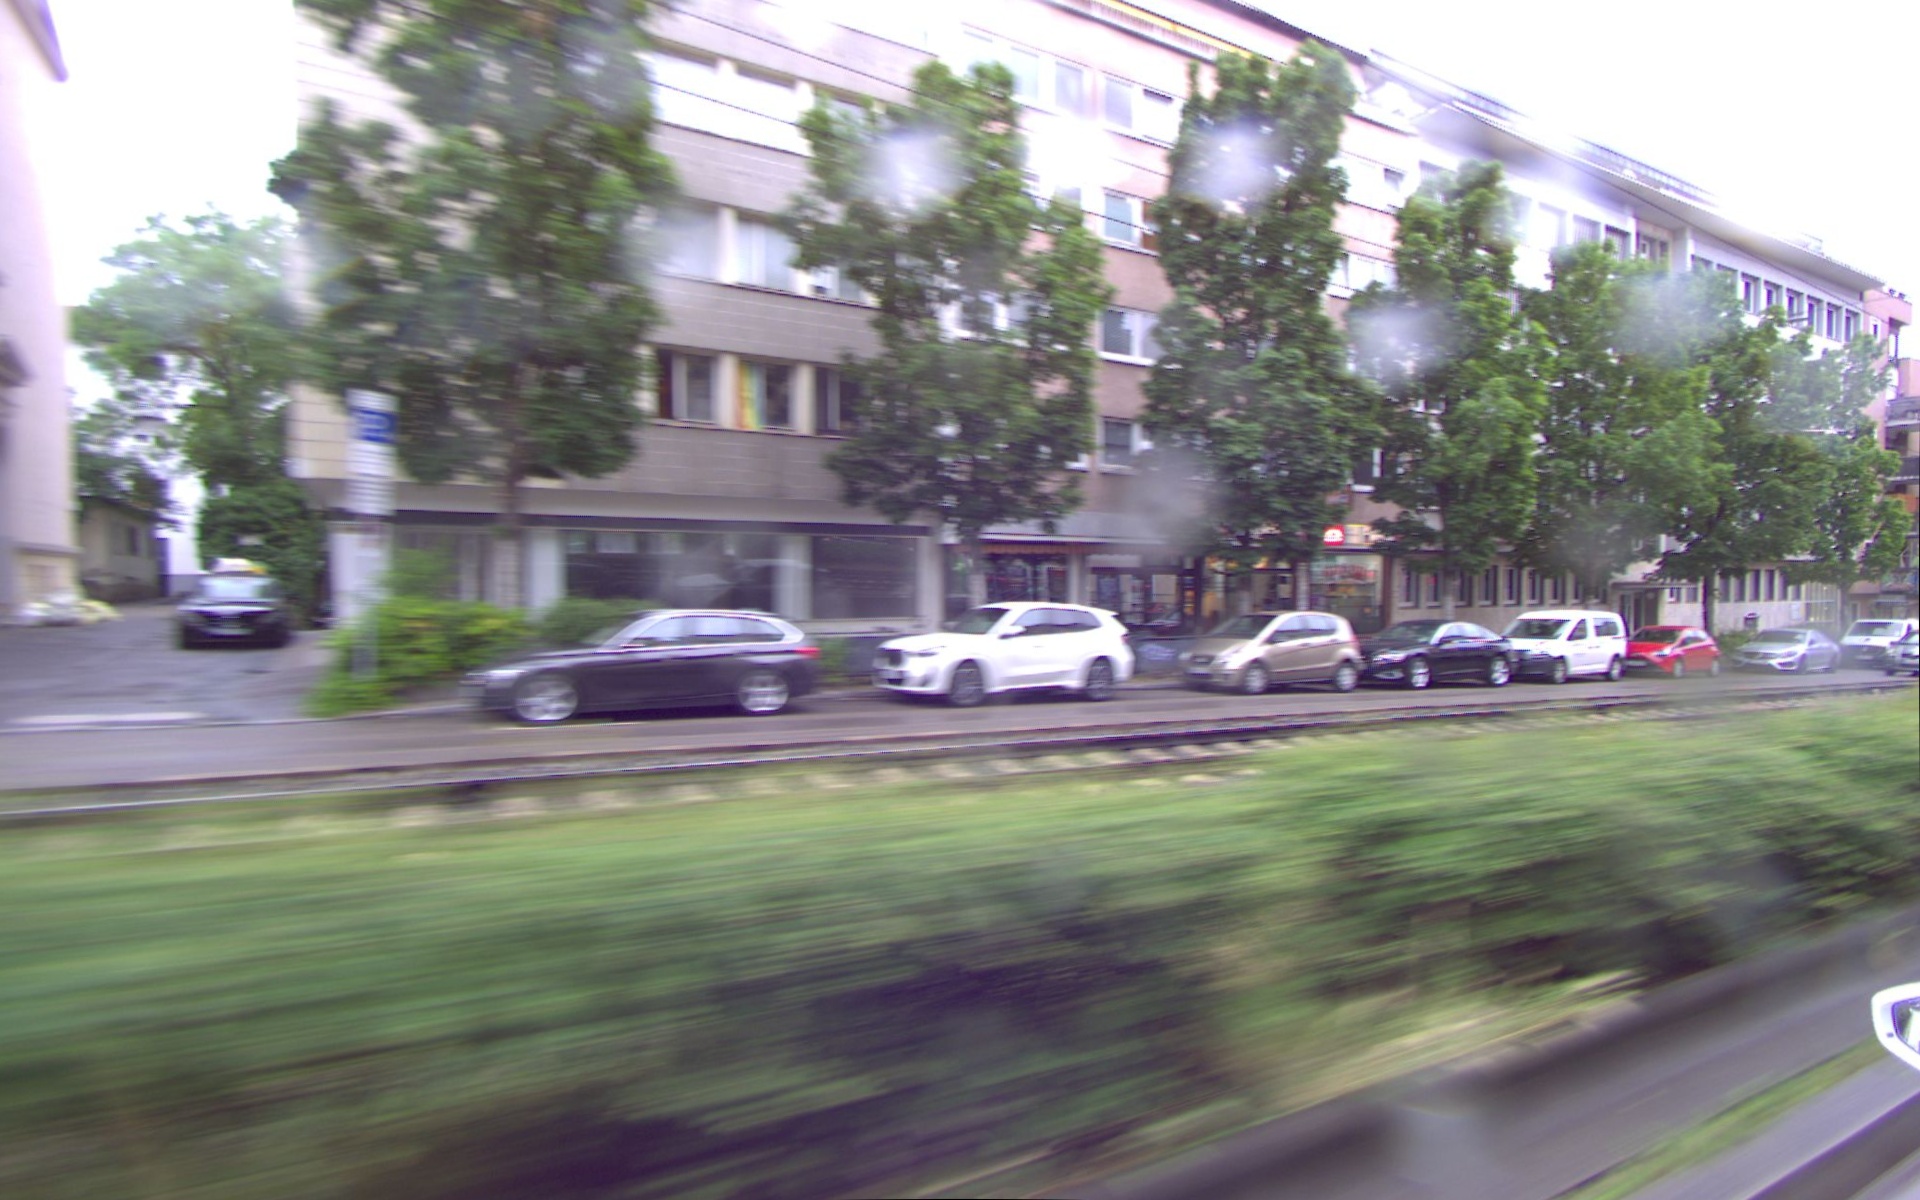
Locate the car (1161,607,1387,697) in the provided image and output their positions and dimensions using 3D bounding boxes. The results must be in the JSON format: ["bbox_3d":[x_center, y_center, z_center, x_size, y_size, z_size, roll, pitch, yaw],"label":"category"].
[{"bbox_3d":[6.327,1.014,20.124,4.380,1.569,1.846,2,0,-31],"label":"car"}]

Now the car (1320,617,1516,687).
[{"bbox_3d":[10.263,1.173,22.441,4.380,1.436,1.846,3,-3,-31],"label":"car"}]

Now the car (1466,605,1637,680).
[{"bbox_3d":[15.152,1.093,25.695,4.380,1.723,1.846,3,0,-31],"label":"car"}]

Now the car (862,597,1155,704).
[{"bbox_3d":[0.873,0.847,16.795,4.666,1.569,1.847,2,-3,-31],"label":"car"}]

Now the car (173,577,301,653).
[{"bbox_3d":[-15.141,0.268,21.240,1.841,1.437,4.393,2,0,-32],"label":"car"}]

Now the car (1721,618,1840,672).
[{"bbox_3d":[26.522,1.457,32.448,4.000,1.579,1.659,3,0,-31],"label":"car"}]

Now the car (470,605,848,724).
[{"bbox_3d":[-4.021,0.879,13.726,4.667,1.395,1.685,3,-2,-31],"label":"car"}]

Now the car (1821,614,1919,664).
[{"bbox_3d":[34.383,1.488,37.554,4.879,1.658,1.846,3,0,-31],"label":"car"}]

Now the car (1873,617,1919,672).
[{"bbox_3d":[31.304,1.468,32.235,4.000,1.658,1.846,3,0,-31],"label":"car"}]

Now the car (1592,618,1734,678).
[{"bbox_3d":[20.294,1.387,28.984,4.000,1.547,1.846,3,0,-31],"label":"car"}]

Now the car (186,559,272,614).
[{"bbox_3d":[-23.008,-0.423,31.747,1.841,1.582,4.089,2,0,-32],"label":"car"}]
